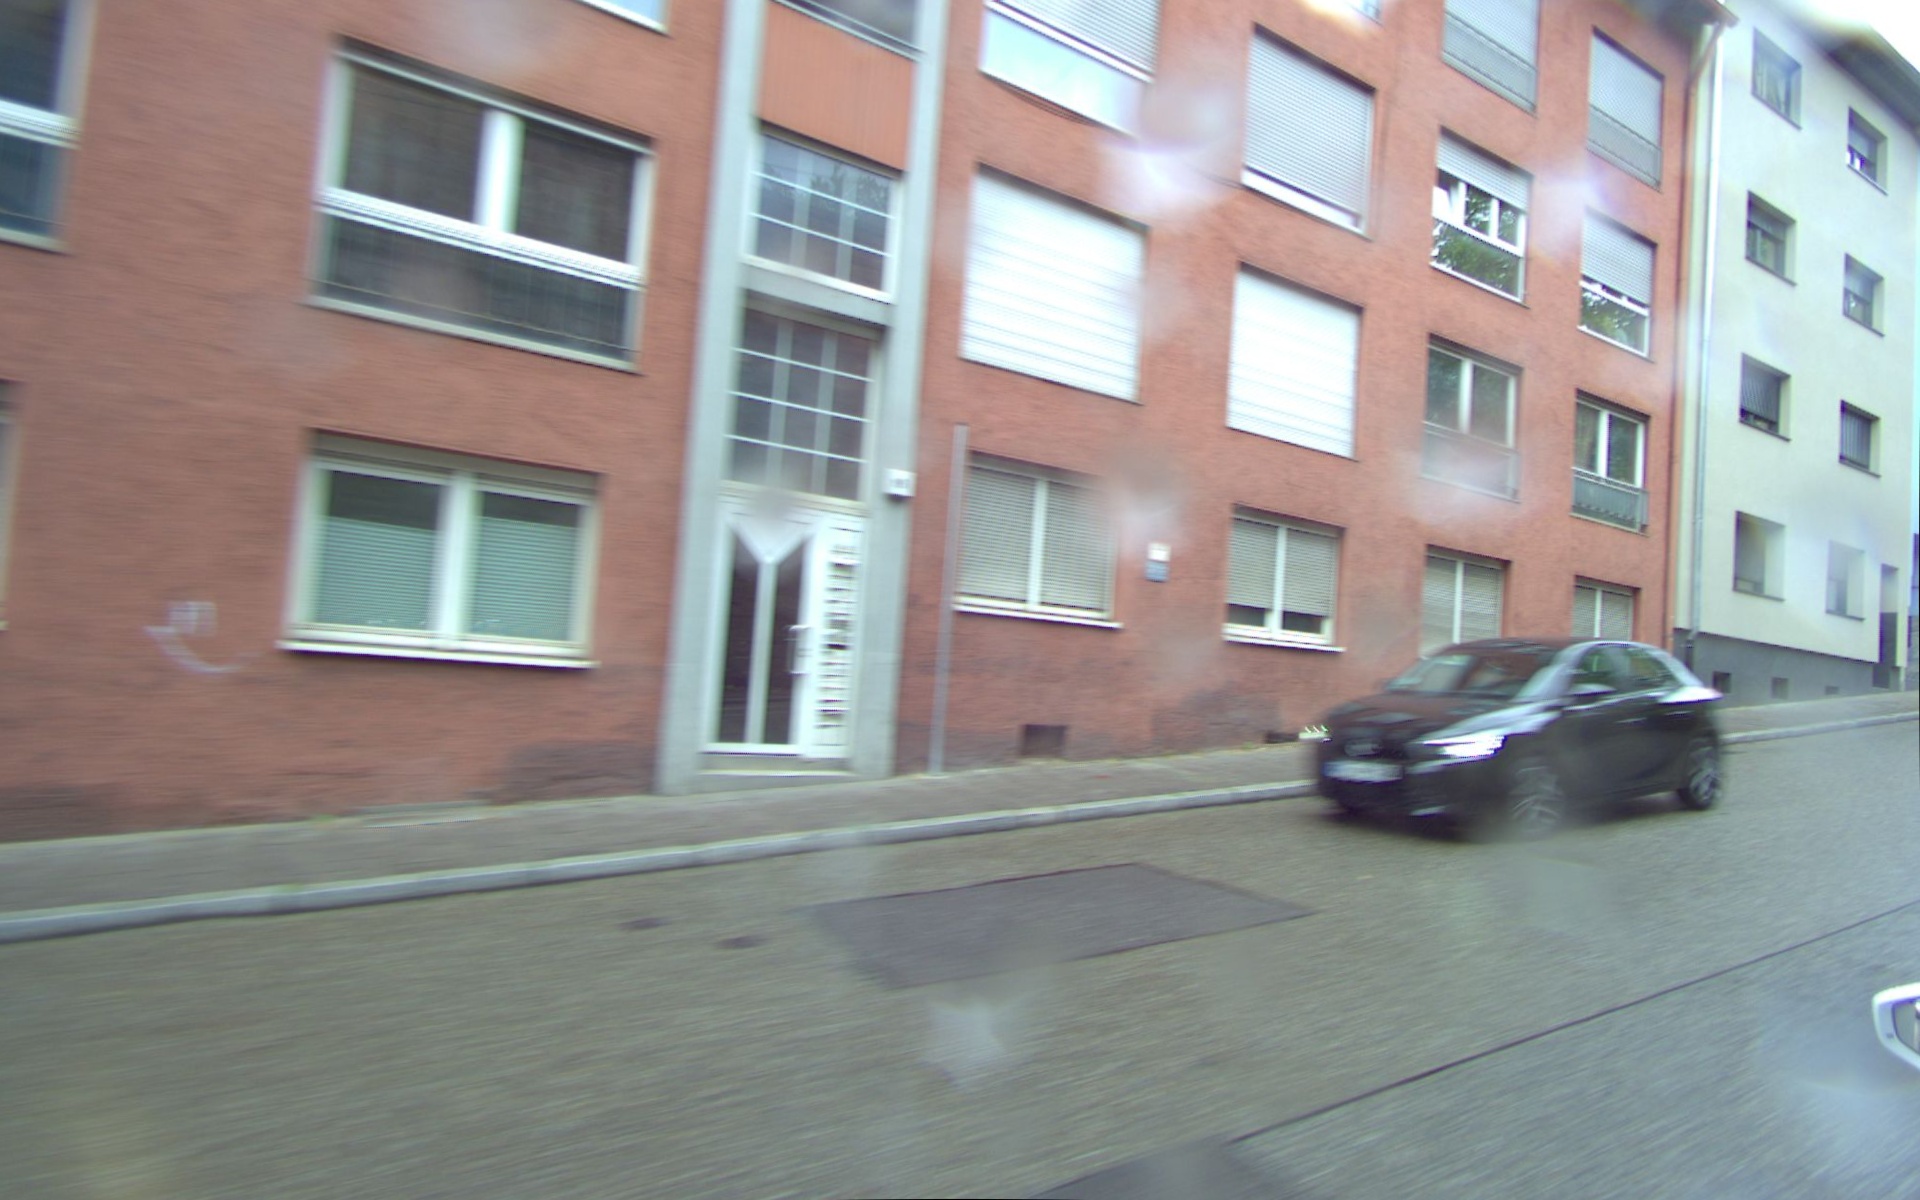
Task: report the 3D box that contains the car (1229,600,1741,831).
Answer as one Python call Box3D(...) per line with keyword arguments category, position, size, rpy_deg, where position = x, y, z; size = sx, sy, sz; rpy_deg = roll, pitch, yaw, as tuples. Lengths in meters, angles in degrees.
Box3D(category="car", position=(4.418, 0.867, 8.406), size=(3.953, 1.497, 1.985), rpy_deg=(2, -4, -30))
